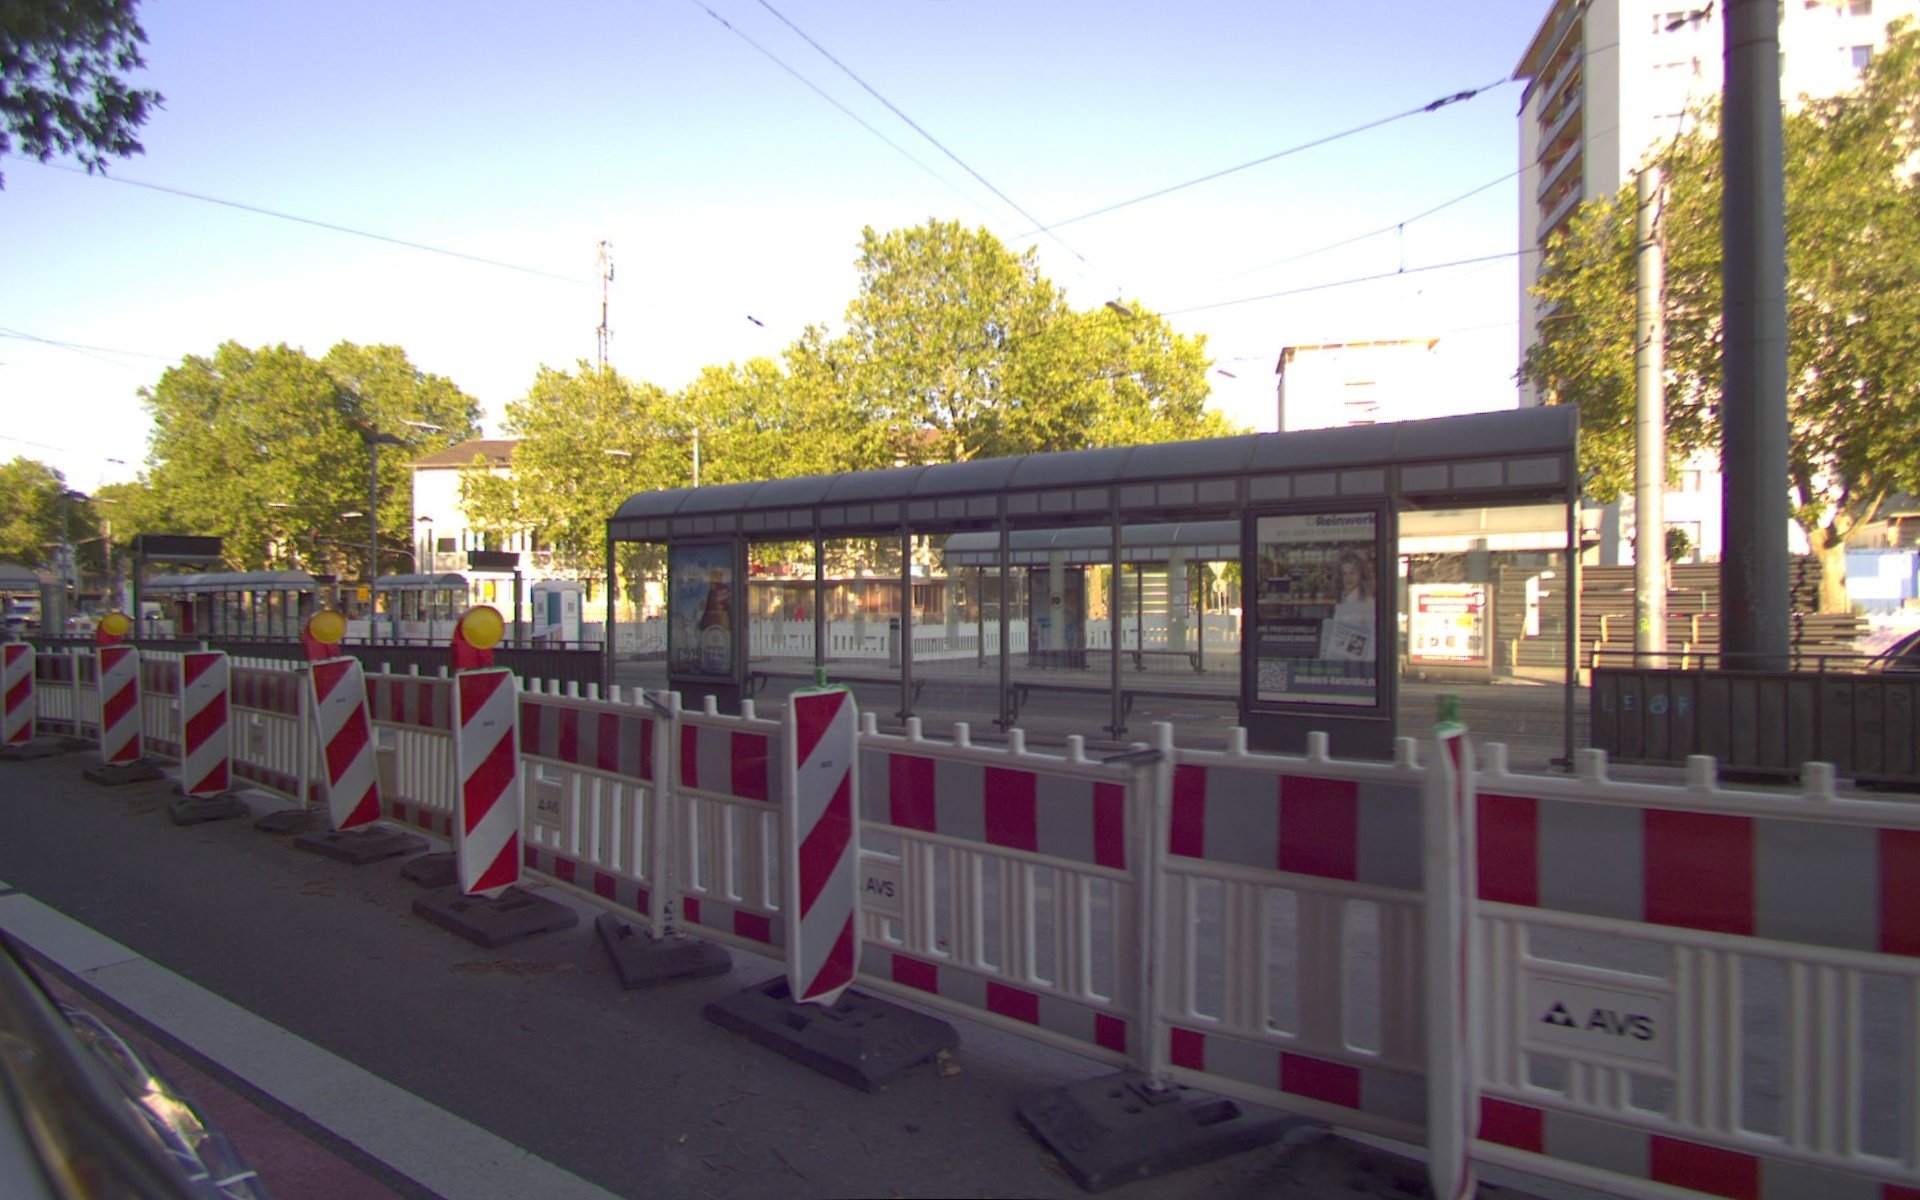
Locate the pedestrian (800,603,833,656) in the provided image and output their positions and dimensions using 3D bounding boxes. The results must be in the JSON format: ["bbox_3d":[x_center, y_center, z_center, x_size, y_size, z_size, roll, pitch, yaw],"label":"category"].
[{"bbox_3d":[-5.586,1.125,39.392,0.883,2.029,0.876,-1,-1,39],"label":"pedestrian"}]

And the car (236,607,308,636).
[{"bbox_3d":[-39.904,1.237,58.718,3.358,1.586,1.676,-1,0,13],"label":"car"}]

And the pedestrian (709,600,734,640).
[{"bbox_3d":[-12.195,1.035,51.752,0.883,2.029,0.875,-1,-1,28],"label":"pedestrian"}]

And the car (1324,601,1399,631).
[{"bbox_3d":[27.869,1.090,70.365,4.391,2.029,1.996,-1,-1,7],"label":"car"}]
